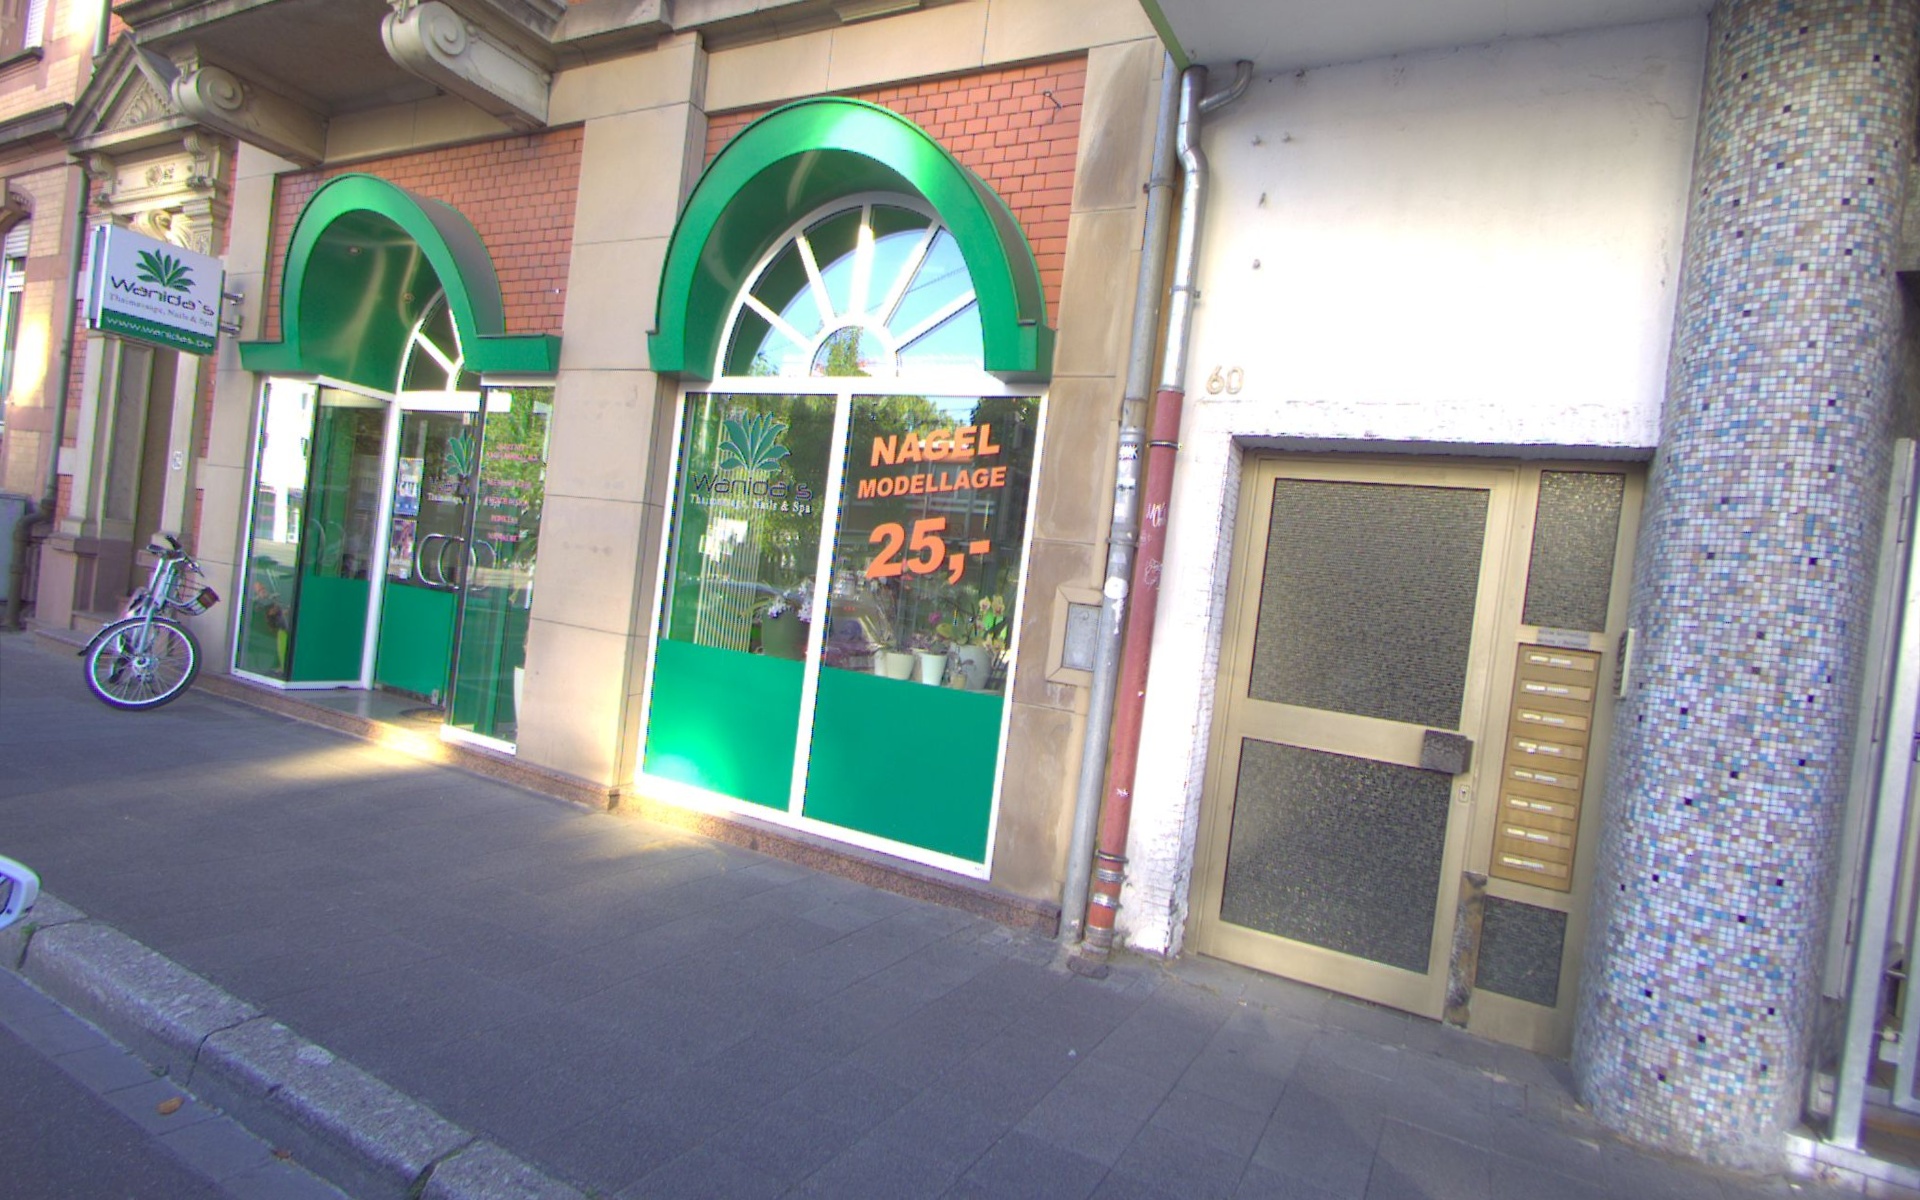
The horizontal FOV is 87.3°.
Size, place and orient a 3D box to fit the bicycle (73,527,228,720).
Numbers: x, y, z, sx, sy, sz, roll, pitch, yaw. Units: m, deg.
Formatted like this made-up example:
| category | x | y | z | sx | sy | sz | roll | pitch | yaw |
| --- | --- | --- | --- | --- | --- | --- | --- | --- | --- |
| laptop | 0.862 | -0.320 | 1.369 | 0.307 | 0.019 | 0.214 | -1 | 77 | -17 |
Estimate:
| category | x | y | z | sx | sy | sz | roll | pitch | yaw |
| --- | --- | --- | --- | --- | --- | --- | --- | --- | --- |
| bicycle | -5.797 | 0.129 | 7.164 | 0.712 | 1.167 | 1.635 | 4 | 2 | -42 |
